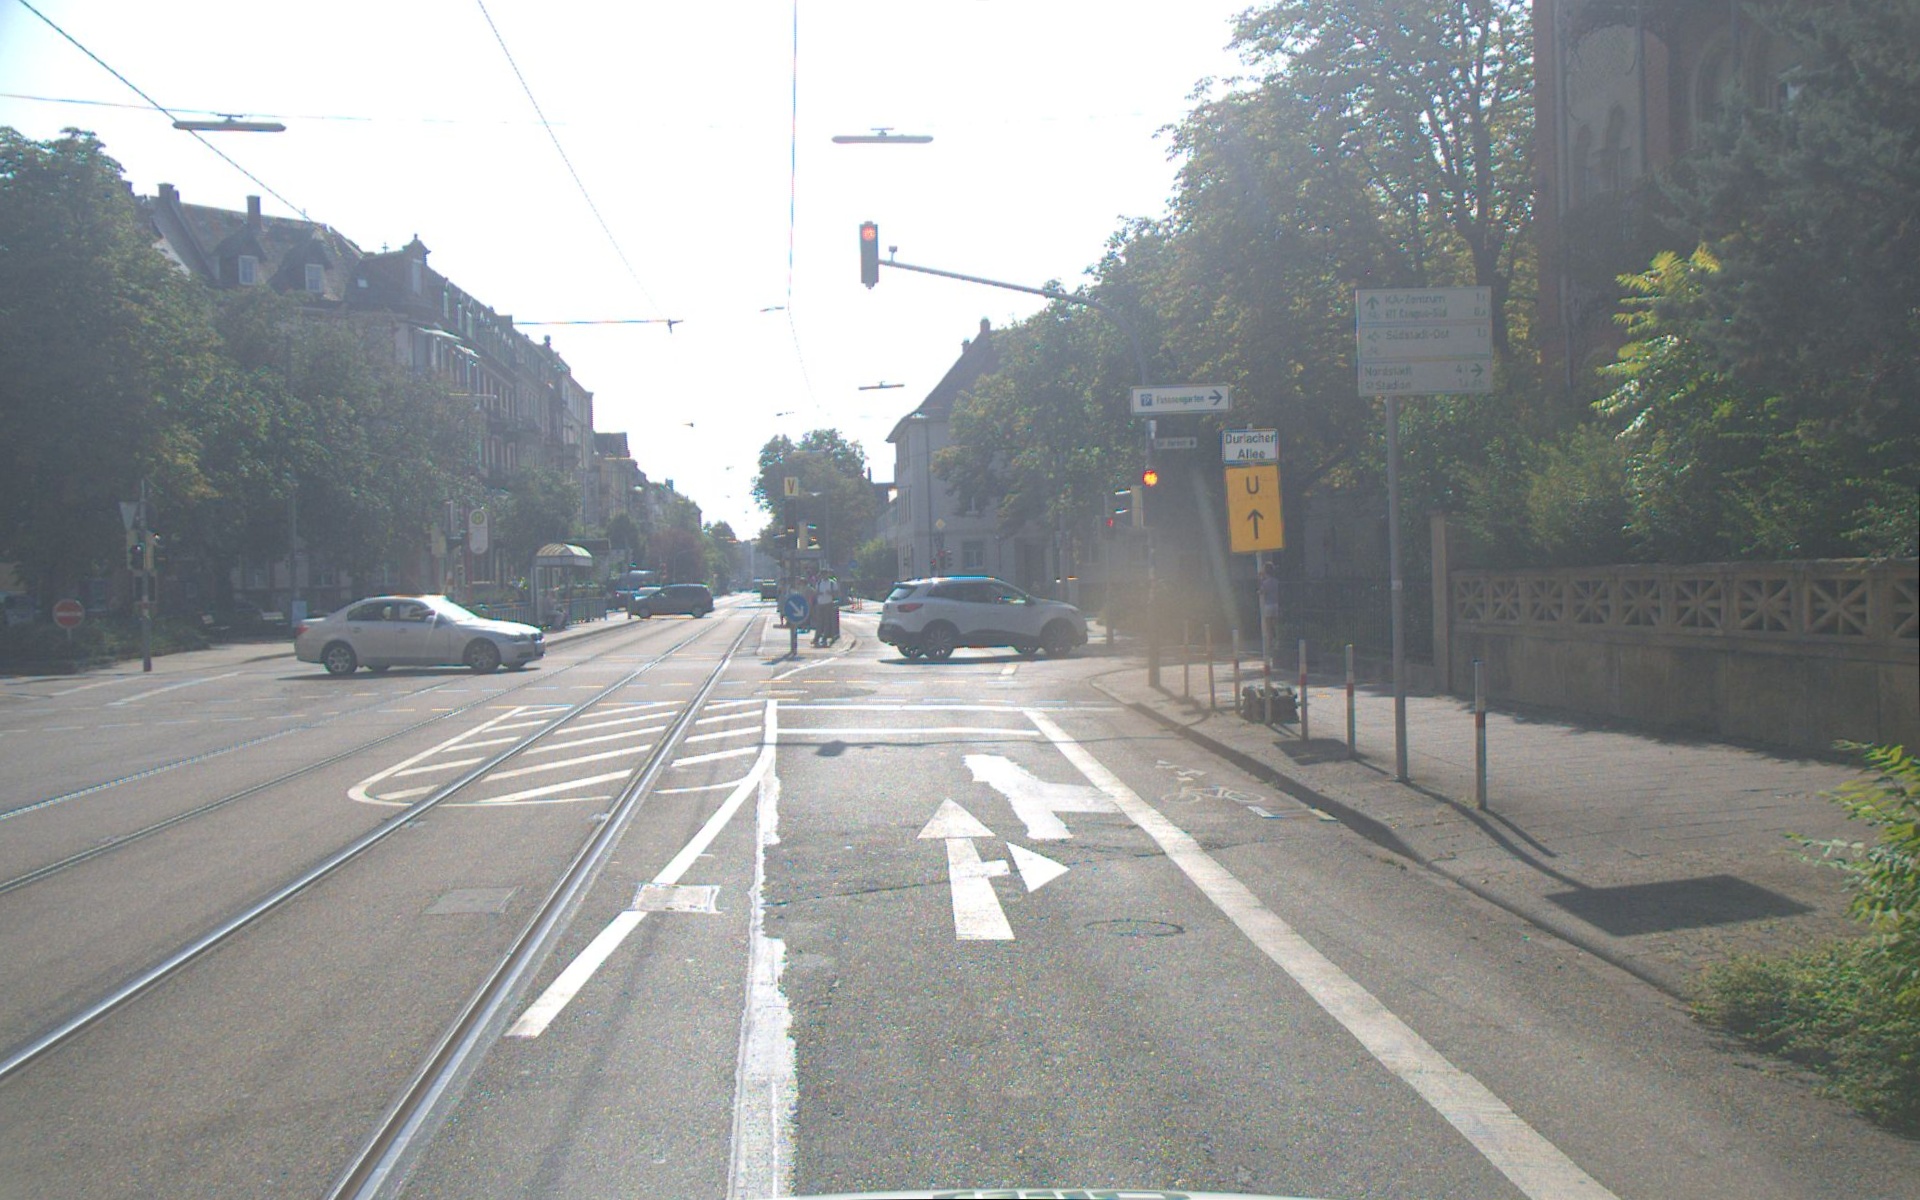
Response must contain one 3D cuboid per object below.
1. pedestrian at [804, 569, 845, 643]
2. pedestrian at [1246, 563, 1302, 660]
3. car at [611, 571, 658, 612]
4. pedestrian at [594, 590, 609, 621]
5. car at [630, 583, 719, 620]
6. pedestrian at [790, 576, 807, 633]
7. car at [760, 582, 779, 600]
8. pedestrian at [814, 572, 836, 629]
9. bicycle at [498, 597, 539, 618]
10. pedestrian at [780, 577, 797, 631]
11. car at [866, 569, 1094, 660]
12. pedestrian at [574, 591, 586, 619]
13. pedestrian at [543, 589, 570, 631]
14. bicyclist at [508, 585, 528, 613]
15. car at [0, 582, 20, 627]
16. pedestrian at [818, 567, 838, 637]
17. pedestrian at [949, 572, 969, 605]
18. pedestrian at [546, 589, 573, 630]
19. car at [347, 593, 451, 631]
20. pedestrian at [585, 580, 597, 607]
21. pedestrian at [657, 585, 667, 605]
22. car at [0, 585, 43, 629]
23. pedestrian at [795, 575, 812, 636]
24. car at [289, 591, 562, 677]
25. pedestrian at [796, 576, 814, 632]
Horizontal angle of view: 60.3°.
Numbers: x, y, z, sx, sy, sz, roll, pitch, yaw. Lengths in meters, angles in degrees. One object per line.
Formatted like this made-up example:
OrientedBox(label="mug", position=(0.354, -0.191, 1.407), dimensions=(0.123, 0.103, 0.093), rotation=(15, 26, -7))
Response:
OrientedBox(label="pedestrian", position=(-3.304, 0.135, 40.471), dimensions=(0.686, 1.755, 0.747), rotation=(2, 3, 27))
OrientedBox(label="pedestrian", position=(5.832, 0.215, 30.743), dimensions=(0.737, 1.761, 0.768), rotation=(-2, 0, -15))
OrientedBox(label="car", position=(-22.558, -0.614, 114.838), dimensions=(2.300, 2.708, 5.103), rotation=(-2, 1, -2))
OrientedBox(label="pedestrian", position=(-20.889, 0.318, 96.411), dimensions=(0.735, 1.761, 0.771), rotation=(-1, 0, -4))
OrientedBox(label="car", position=(-14.278, 0.062, 82.923), dimensions=(4.239, 1.704, 1.997), rotation=(-2, 0, -7))
OrientedBox(label="pedestrian", position=(-5.199, 0.145, 53.307), dimensions=(0.532, 1.790, 0.533), rotation=(1, 2, -6))
OrientedBox(label="car", position=(-19.337, -0.915, 168.195), dimensions=(1.766, 1.682, 3.639), rotation=(-2, 1, -5))
OrientedBox(label="pedestrian", position=(-4.376, 0.006, 53.580), dimensions=(0.695, 1.790, 0.533), rotation=(1, 2, -6))
OrientedBox(label="bicycle", position=(-21.640, 0.349, 81.106), dimensions=(1.813, 0.974, 0.548), rotation=(-2, 1, -3))
OrientedBox(label="pedestrian", position=(-5.760, 0.128, 55.486), dimensions=(0.522, 1.790, 0.544), rotation=(1, 2, -5))
OrientedBox(label="car", position=(0.398, 0.265, 34.024), dimensions=(4.256, 1.659, 1.988), rotation=(-2, 1, -21))
OrientedBox(label="pedestrian", position=(-24.616, 0.302, 107.141), dimensions=(0.737, 1.761, 0.768), rotation=(-2, 0, -15))
OrientedBox(label="pedestrian", position=(-13.683, 0.325, 56.096), dimensions=(0.813, 1.382, 0.774), rotation=(-2, 0, -10))
OrientedBox(label="bicyclist", position=(-21.673, -0.057, 81.100), dimensions=(0.802, 1.351, 0.548), rotation=(-2, 1, -3))
OrientedBox(label="car", position=(-42.198, 0.232, 70.002), dimensions=(3.902, 1.860, 2.002), rotation=(-1, 1, 16))
OrientedBox(label="pedestrian", position=(-3.565, 0.055, 44.728), dimensions=(0.494, 1.865, 0.533), rotation=(1, 2, -6))
OrientedBox(label="pedestrian", position=(-0.065, -0.631, 90.442), dimensions=(0.872, 1.770, 0.777), rotation=(-1, 0, 15))
OrientedBox(label="pedestrian", position=(-13.804, 0.320, 57.064), dimensions=(0.813, 1.382, 0.774), rotation=(-2, 0, -10))
OrientedBox(label="car", position=(-25.900, 0.519, 76.352), dimensions=(4.272, 1.596, 1.982), rotation=(-2, 1, -28))
OrientedBox(label="pedestrian", position=(-24.775, -0.421, 110.971), dimensions=(0.737, 1.761, 0.768), rotation=(-2, 0, -15))
OrientedBox(label="pedestrian", position=(-25.973, -0.436, 144.234), dimensions=(0.737, 1.761, 0.768), rotation=(-2, 0, -15))
OrientedBox(label="car", position=(-43.081, 0.339, 73.377), dimensions=(3.902, 1.860, 2.002), rotation=(-1, 1, 16))
OrientedBox(label="pedestrian", position=(-4.666, 0.160, 49.337), dimensions=(0.494, 1.790, 0.533), rotation=(1, 2, -6))
OrientedBox(label="car", position=(-10.367, 0.646, 32.270), dimensions=(4.670, 1.492, 1.871), rotation=(-2, 0, 6))
OrientedBox(label="pedestrian", position=(-5.073, 0.132, 54.132), dimensions=(0.532, 1.790, 0.533), rotation=(1, 2, -6))
